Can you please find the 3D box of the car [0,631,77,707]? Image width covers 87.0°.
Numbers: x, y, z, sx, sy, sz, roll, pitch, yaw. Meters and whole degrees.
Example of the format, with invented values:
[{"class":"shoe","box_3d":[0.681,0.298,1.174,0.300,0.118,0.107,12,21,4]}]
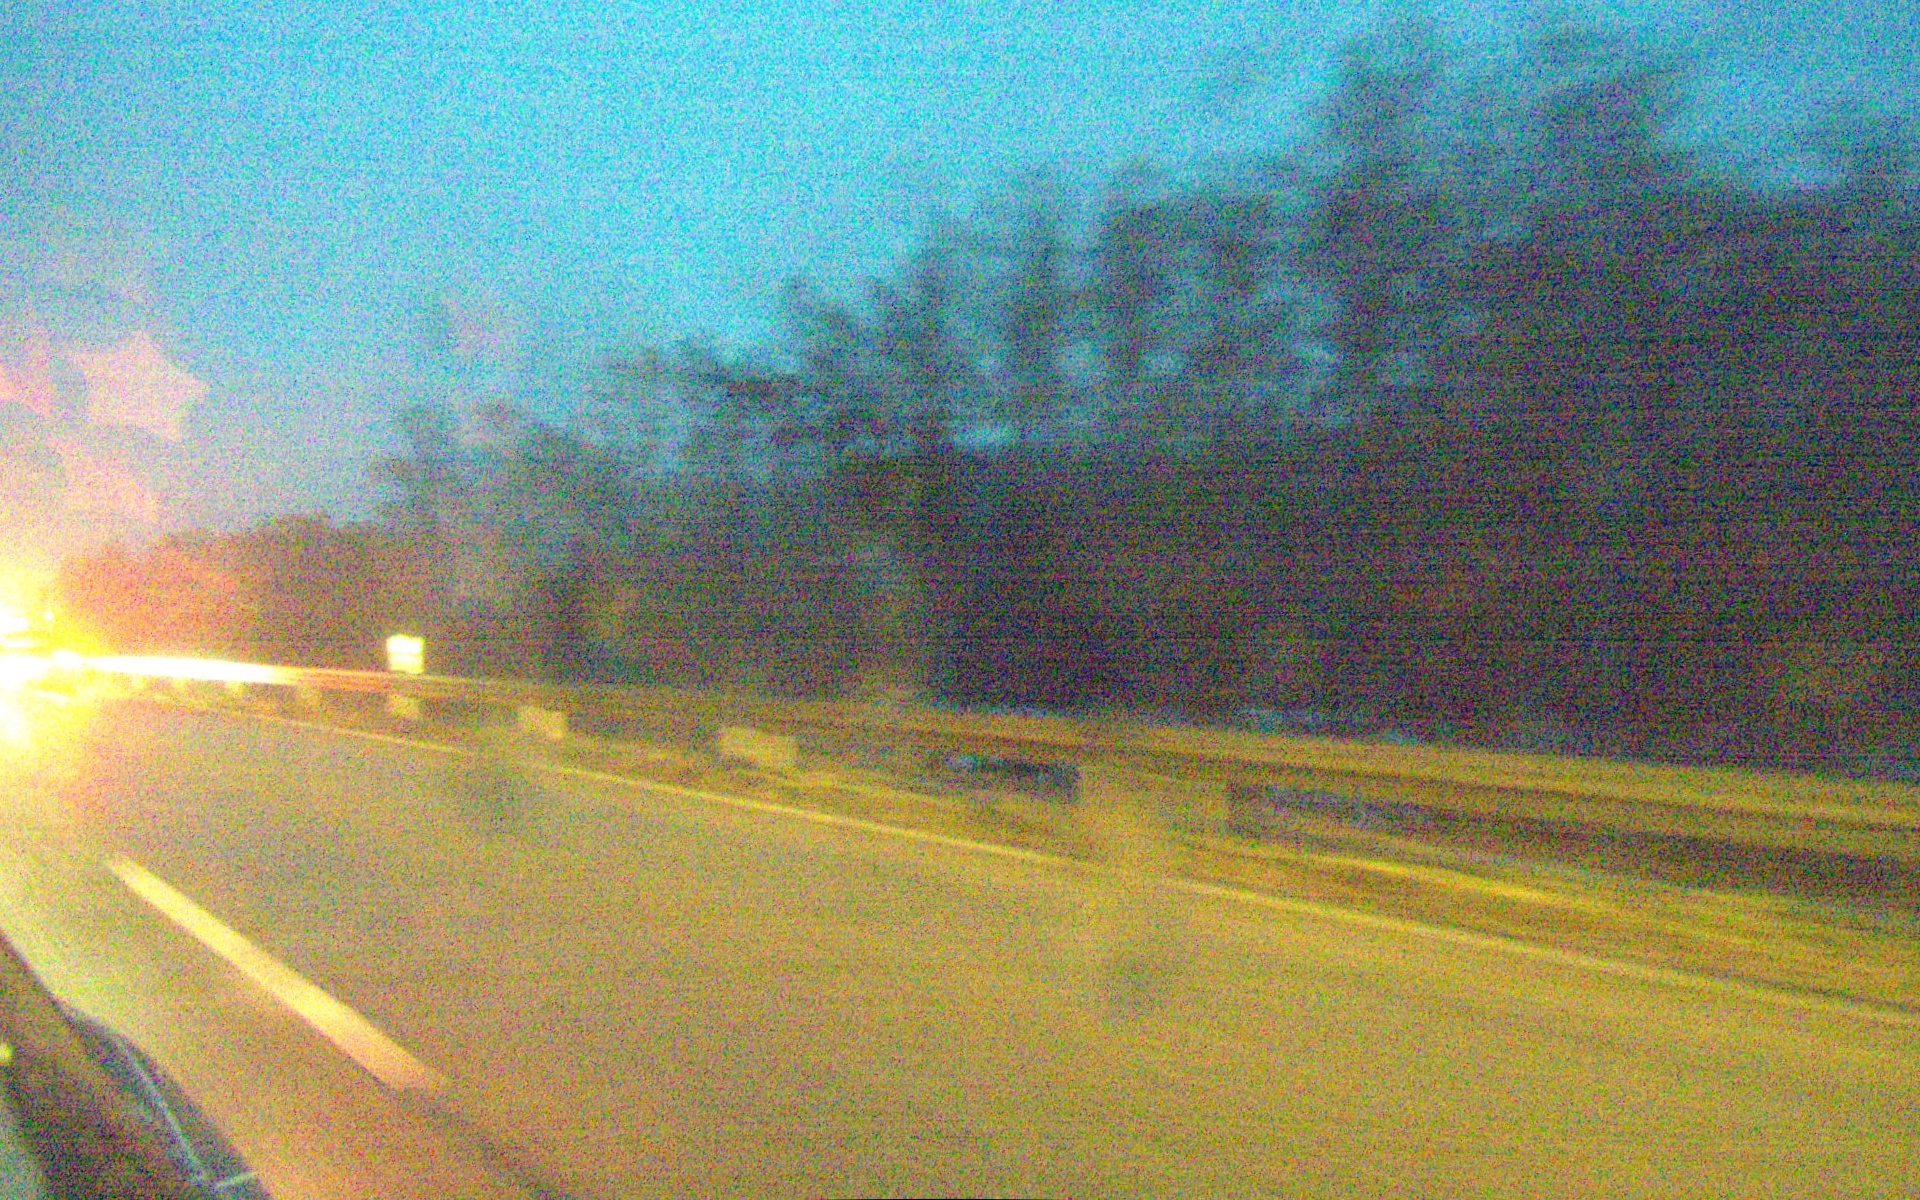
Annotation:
[{"class":"car","box_3d":[-19.961,1.386,21.120,4.118,1.436,1.628,-1,-1,39]}]
